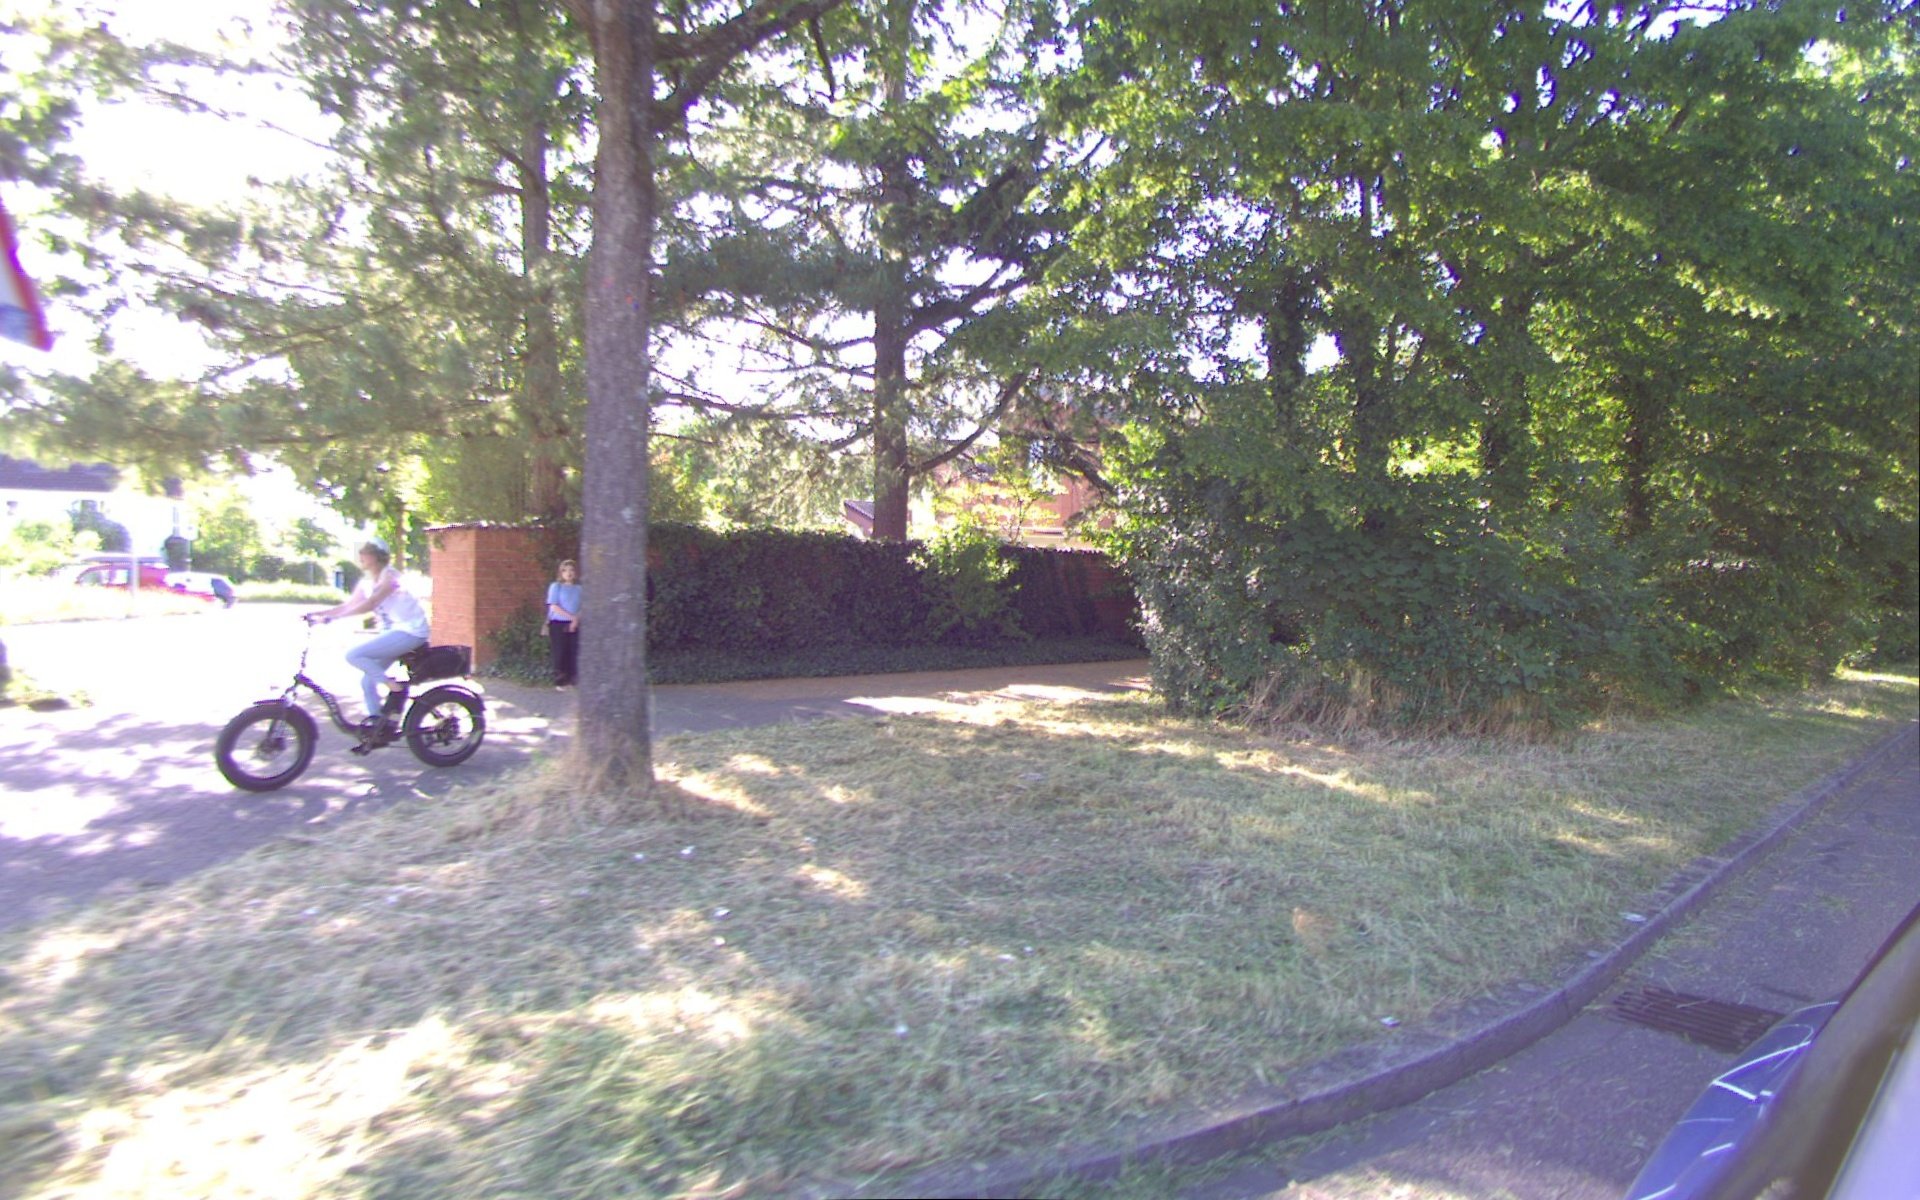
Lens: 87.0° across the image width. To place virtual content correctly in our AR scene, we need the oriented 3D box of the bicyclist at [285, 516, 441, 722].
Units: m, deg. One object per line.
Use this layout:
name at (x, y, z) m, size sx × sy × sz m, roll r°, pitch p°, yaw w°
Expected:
bicyclist at (-4.256, 0.111, 7.230) m, size 0.636 × 1.364 × 0.825 m, roll 2°, pitch 2°, yaw 43°

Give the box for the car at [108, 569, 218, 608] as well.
car at (-31.312, -0.474, 39.817) m, size 3.334 × 1.459 × 1.614 m, roll -1°, pitch 2°, yaw -39°

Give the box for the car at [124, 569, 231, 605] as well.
car at (-32.620, -0.565, 42.232) m, size 3.472 × 1.433 × 1.679 m, roll -1°, pitch 2°, yaw -39°

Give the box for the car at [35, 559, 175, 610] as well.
car at (-30.862, -0.574, 36.596) m, size 1.739 × 1.738 × 3.602 m, roll 2°, pitch 2°, yaw 37°

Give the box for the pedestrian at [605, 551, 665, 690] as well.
pedestrian at (-3.802, 0.224, 11.854) m, size 0.392 × 1.580 × 0.533 m, roll 2°, pitch 2°, yaw 28°

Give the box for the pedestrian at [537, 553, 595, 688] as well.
pedestrian at (-4.641, 0.226, 11.921) m, size 0.529 × 1.539 × 0.395 m, roll 0°, pitch 1°, yaw -41°

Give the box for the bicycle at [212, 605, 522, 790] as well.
bicycle at (-4.195, 0.625, 7.292) m, size 0.457 × 1.159 × 1.868 m, roll 2°, pitch 1°, yaw 44°
